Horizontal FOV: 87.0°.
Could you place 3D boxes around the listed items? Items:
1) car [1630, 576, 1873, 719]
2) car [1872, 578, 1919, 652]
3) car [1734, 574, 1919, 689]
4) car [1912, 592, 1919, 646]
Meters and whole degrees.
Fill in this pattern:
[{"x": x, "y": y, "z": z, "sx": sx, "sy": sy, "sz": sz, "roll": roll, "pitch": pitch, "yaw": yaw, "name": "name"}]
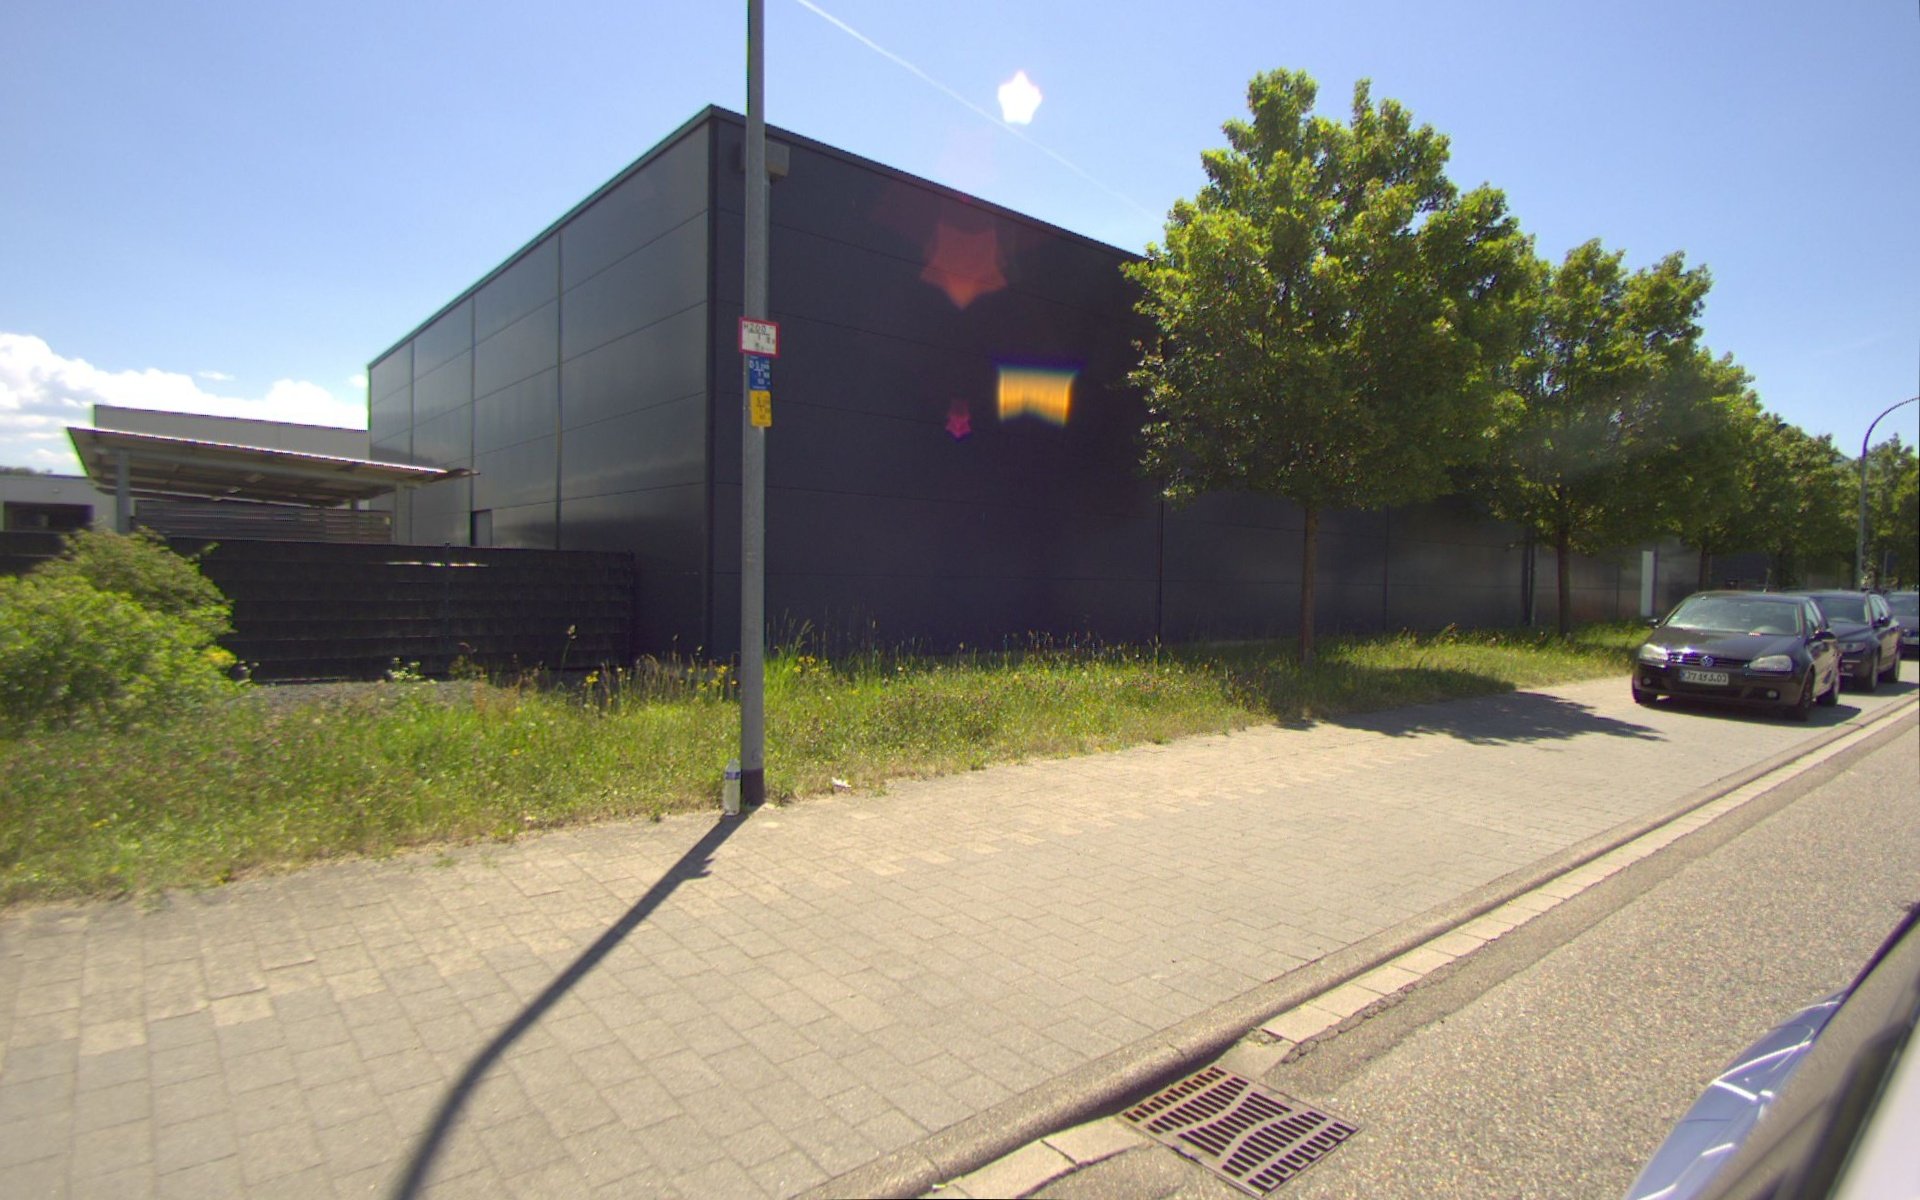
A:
[{"x": 10.368, "y": 0.501, "z": 13.146, "sx": 4.195, "sy": 1.494, "sz": 1.695, "roll": 0, "pitch": 3, "yaw": -42, "name": "car"}, {"x": 23.801, "y": 0.364, "z": 24.708, "sx": 4.292, "sy": 1.690, "sz": 1.741, "roll": 0, "pitch": 3, "yaw": -42, "name": "car"}, {"x": 14.878, "y": 0.445, "z": 17.220, "sx": 4.633, "sy": 1.637, "sz": 1.811, "roll": 0, "pitch": 3, "yaw": -42, "name": "car"}, {"x": 28.468, "y": 0.558, "z": 28.703, "sx": 4.116, "sy": 1.475, "sz": 1.710, "roll": 0, "pitch": 3, "yaw": -42, "name": "car"}]
